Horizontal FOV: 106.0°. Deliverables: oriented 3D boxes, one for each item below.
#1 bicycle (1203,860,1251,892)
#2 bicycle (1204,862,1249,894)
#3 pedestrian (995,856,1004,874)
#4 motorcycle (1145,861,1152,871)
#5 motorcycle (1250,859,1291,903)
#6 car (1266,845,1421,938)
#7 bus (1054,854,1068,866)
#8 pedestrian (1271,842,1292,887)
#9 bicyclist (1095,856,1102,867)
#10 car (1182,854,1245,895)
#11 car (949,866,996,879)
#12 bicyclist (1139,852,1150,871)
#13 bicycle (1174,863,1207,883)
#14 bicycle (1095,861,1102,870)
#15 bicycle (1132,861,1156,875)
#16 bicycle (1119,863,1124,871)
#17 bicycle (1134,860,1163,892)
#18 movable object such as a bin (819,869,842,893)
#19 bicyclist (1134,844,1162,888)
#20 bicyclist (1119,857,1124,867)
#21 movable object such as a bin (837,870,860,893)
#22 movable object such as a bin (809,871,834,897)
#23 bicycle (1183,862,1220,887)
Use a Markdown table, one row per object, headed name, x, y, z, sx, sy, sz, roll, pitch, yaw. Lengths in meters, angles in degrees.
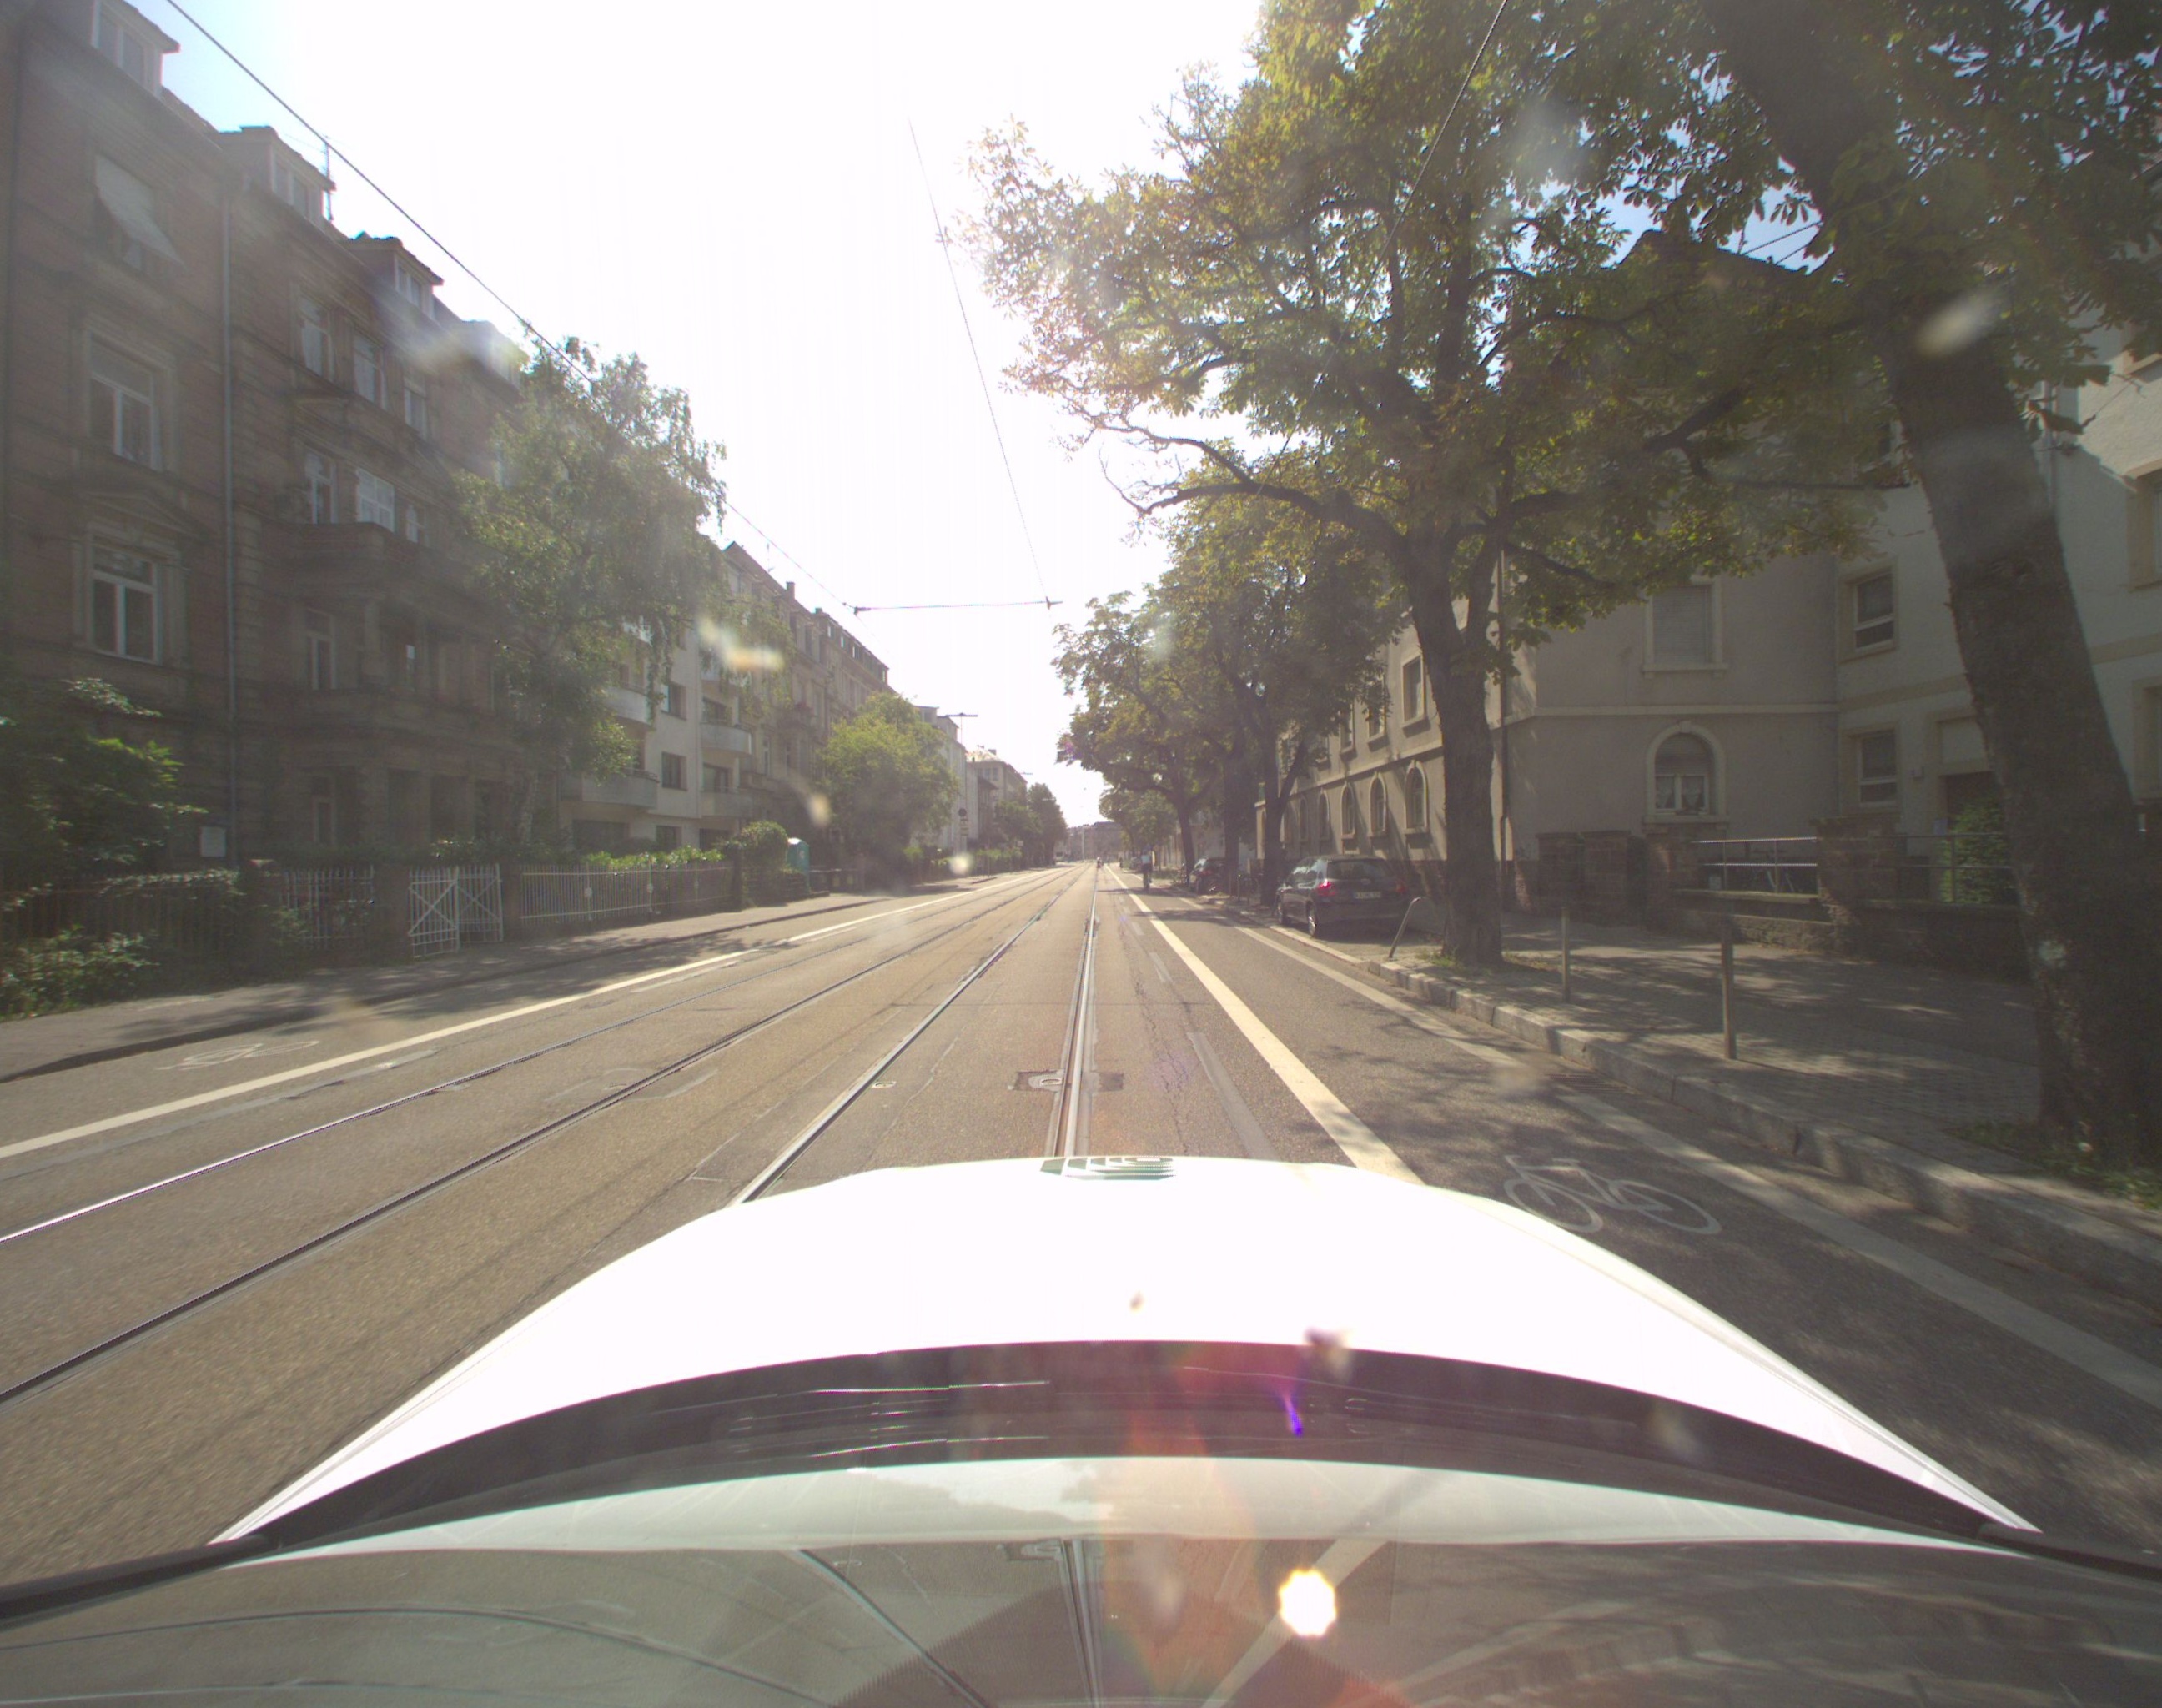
| name | x | y | z | sx | sy | sz | roll | pitch | yaw |
| --- | --- | --- | --- | --- | --- | --- | --- | --- | --- |
| bicycle | 5.350 | 0.812 | 29.855 | 1.713 | 1.149 | 0.377 | -1 | 0 | 7 |
| bicycle | 5.251 | 0.872 | 29.468 | 1.597 | 1.104 | 0.399 | -1 | 0 | 7 |
| pedestrian | -8.496 | 1.149 | 84.983 | 0.777 | 1.756 | 1.041 | -2 | -1 | 1 |
| motorcycle | 7.087 | 1.260 | 85.919 | 0.547 | 1.068 | 2.331 | -1 | -1 | 1 |
| motorcycle | 5.724 | 0.798 | 24.677 | 0.708 | 1.255 | 2.176 | -1 | 0 | 0 |
| car | 5.087 | 0.634 | 16.387 | 1.834 | 1.532 | 4.116 | -2 | 1 | 1 |
| bus | -6.204 | 1.935 | 251.797 | 3.722 | 3.364 | 15.120 | -1 | -1 | 1 |
| pedestrian | 8.446 | 0.435 | 34.353 | 0.703 | 1.892 | 0.714 | -1 | -1 | 2 |
| bicyclist | 2.139 | 0.908 | 98.071 | 0.755 | 1.391 | 0.780 | -1 | -1 | 3 |
| car | 5.404 | 0.797 | 33.846 | 1.834 | 1.532 | 4.780 | -3 | 0 | 1 |
| car | -10.950 | 1.844 | 82.090 | 4.194 | 1.184 | 2.010 | -2 | -1 | 21 |
| bicyclist | 5.632 | 0.691 | 72.050 | 0.818 | 1.643 | 0.788 | -1 | 0 | 13 |
| bicycle | 5.880 | 1.000 | 43.865 | 1.706 | 1.032 | 0.567 | -1 | -1 | 1 |
| bicycle | 2.145 | 1.370 | 97.996 | 0.755 | 0.991 | 2.300 | -1 | -1 | 4 |
| bicycle | 5.588 | 1.224 | 72.061 | 2.021 | 1.151 | 0.788 | -1 | 0 | 12 |
| bicycle | 5.019 | 1.627 | 100.042 | 0.585 | 0.939 | 2.174 | -1 | -1 | 4 |
| bicycle | 2.866 | 0.921 | 34.852 | 1.143 | 1.269 | 2.714 | -1 | 0 | 3 |
| movable object such as a bin | -11.652 | 1.253 | 37.959 | 0.783 | 1.075 | 0.804 | 0 | -1 | 4 |
| bicyclist | 2.846 | 0.522 | 34.792 | 1.121 | 1.837 | 0.956 | -1 | -1 | 2 |
| bicyclist | 4.997 | 0.969 | 99.964 | 0.576 | 1.279 | 0.472 | -1 | -1 | 3 |
| movable object such as a bin | -10.852 | 1.271 | 37.967 | 0.783 | 1.075 | 0.804 | 0 | -1 | 4 |
| movable object such as a bin | -10.997 | 1.283 | 34.521 | 0.784 | 1.075 | 0.754 | 0 | -1 | -1 |
| bicycle | 5.747 | 0.986 | 38.966 | 1.713 | 1.137 | 0.377 | -1 | -1 | 7 |
